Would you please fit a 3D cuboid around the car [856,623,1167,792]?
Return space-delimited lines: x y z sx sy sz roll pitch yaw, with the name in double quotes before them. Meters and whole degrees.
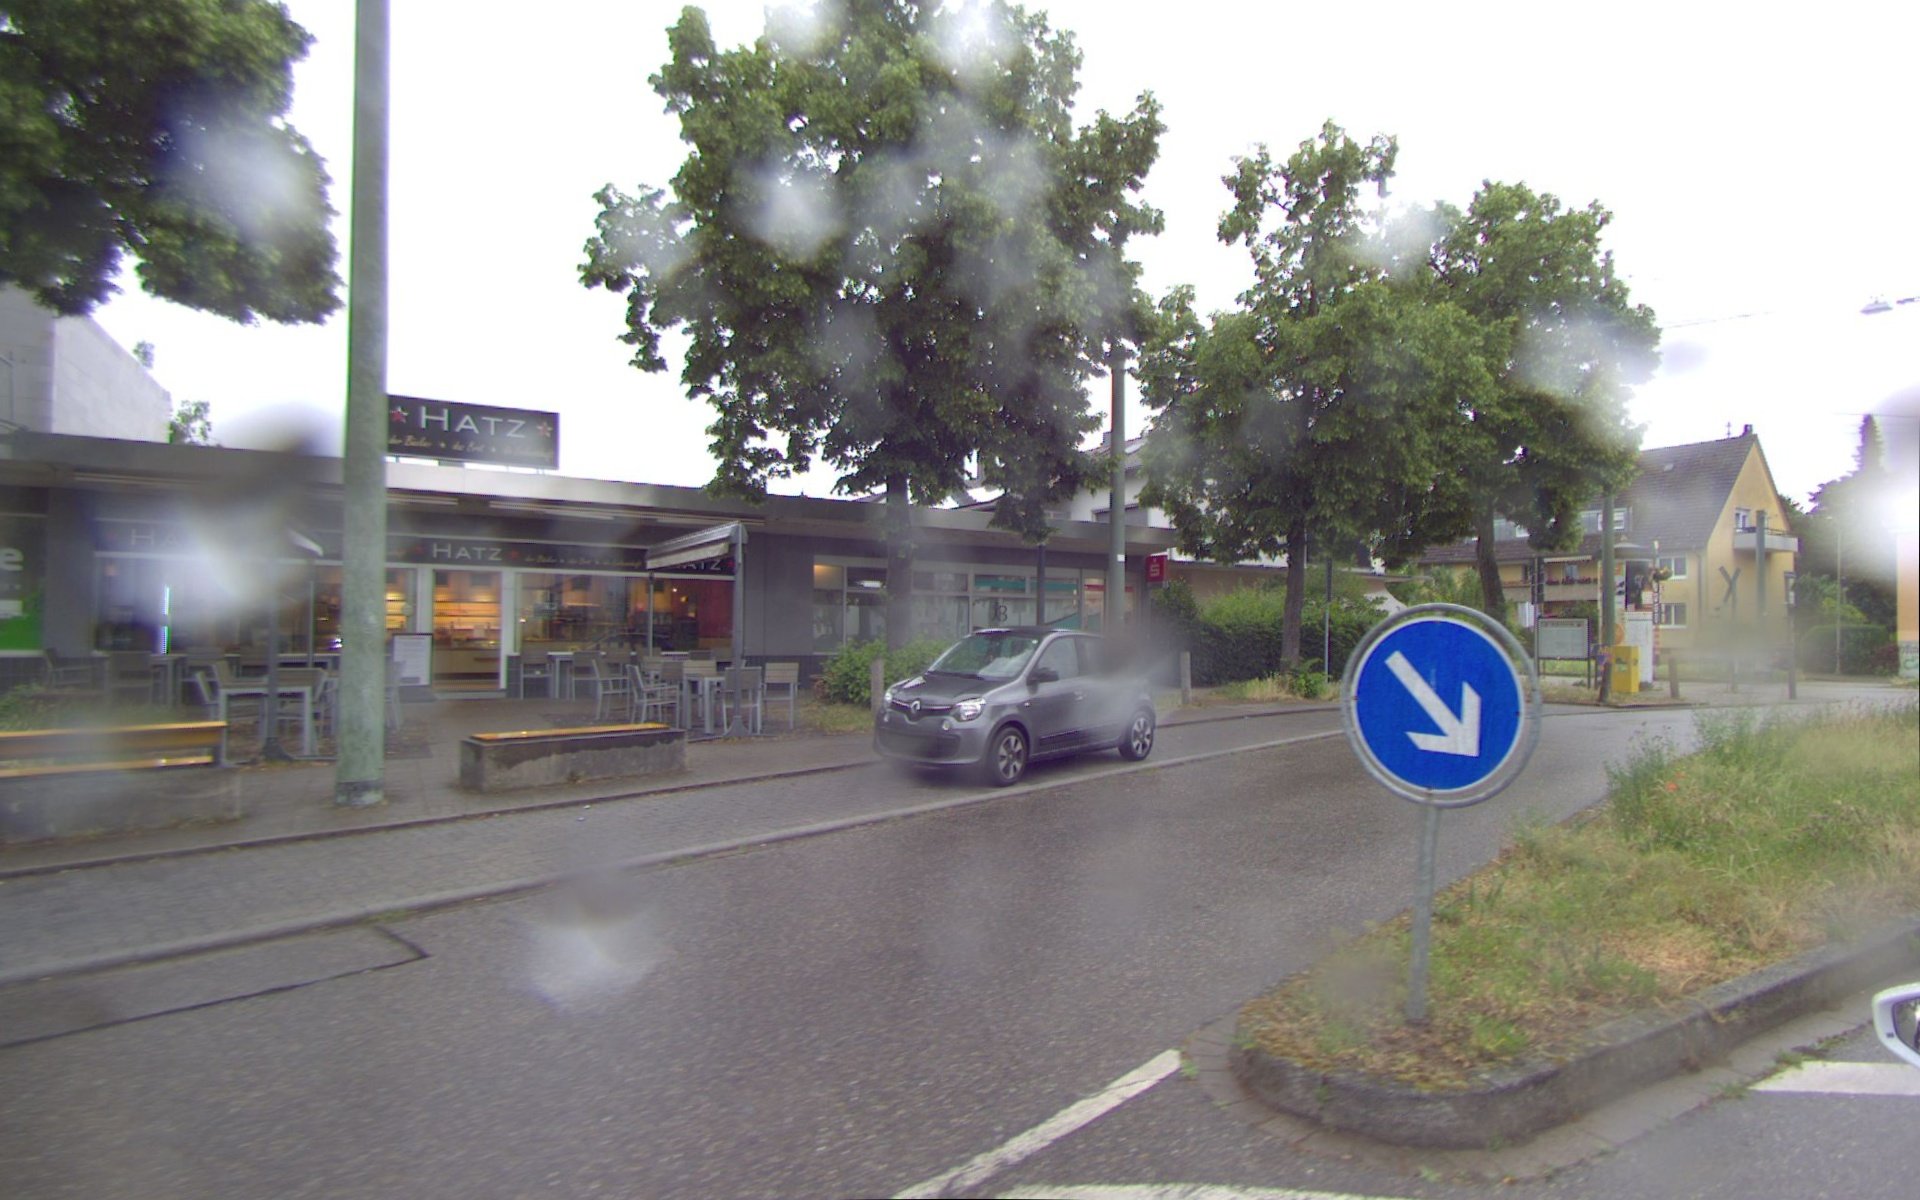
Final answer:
"car" 0.705 1.054 11.203 1.529 1.523 3.604 2 0 42

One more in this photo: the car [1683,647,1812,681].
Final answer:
"car" 37.149 2.983 47.490 1.947 1.414 4.464 2 -2 -34
